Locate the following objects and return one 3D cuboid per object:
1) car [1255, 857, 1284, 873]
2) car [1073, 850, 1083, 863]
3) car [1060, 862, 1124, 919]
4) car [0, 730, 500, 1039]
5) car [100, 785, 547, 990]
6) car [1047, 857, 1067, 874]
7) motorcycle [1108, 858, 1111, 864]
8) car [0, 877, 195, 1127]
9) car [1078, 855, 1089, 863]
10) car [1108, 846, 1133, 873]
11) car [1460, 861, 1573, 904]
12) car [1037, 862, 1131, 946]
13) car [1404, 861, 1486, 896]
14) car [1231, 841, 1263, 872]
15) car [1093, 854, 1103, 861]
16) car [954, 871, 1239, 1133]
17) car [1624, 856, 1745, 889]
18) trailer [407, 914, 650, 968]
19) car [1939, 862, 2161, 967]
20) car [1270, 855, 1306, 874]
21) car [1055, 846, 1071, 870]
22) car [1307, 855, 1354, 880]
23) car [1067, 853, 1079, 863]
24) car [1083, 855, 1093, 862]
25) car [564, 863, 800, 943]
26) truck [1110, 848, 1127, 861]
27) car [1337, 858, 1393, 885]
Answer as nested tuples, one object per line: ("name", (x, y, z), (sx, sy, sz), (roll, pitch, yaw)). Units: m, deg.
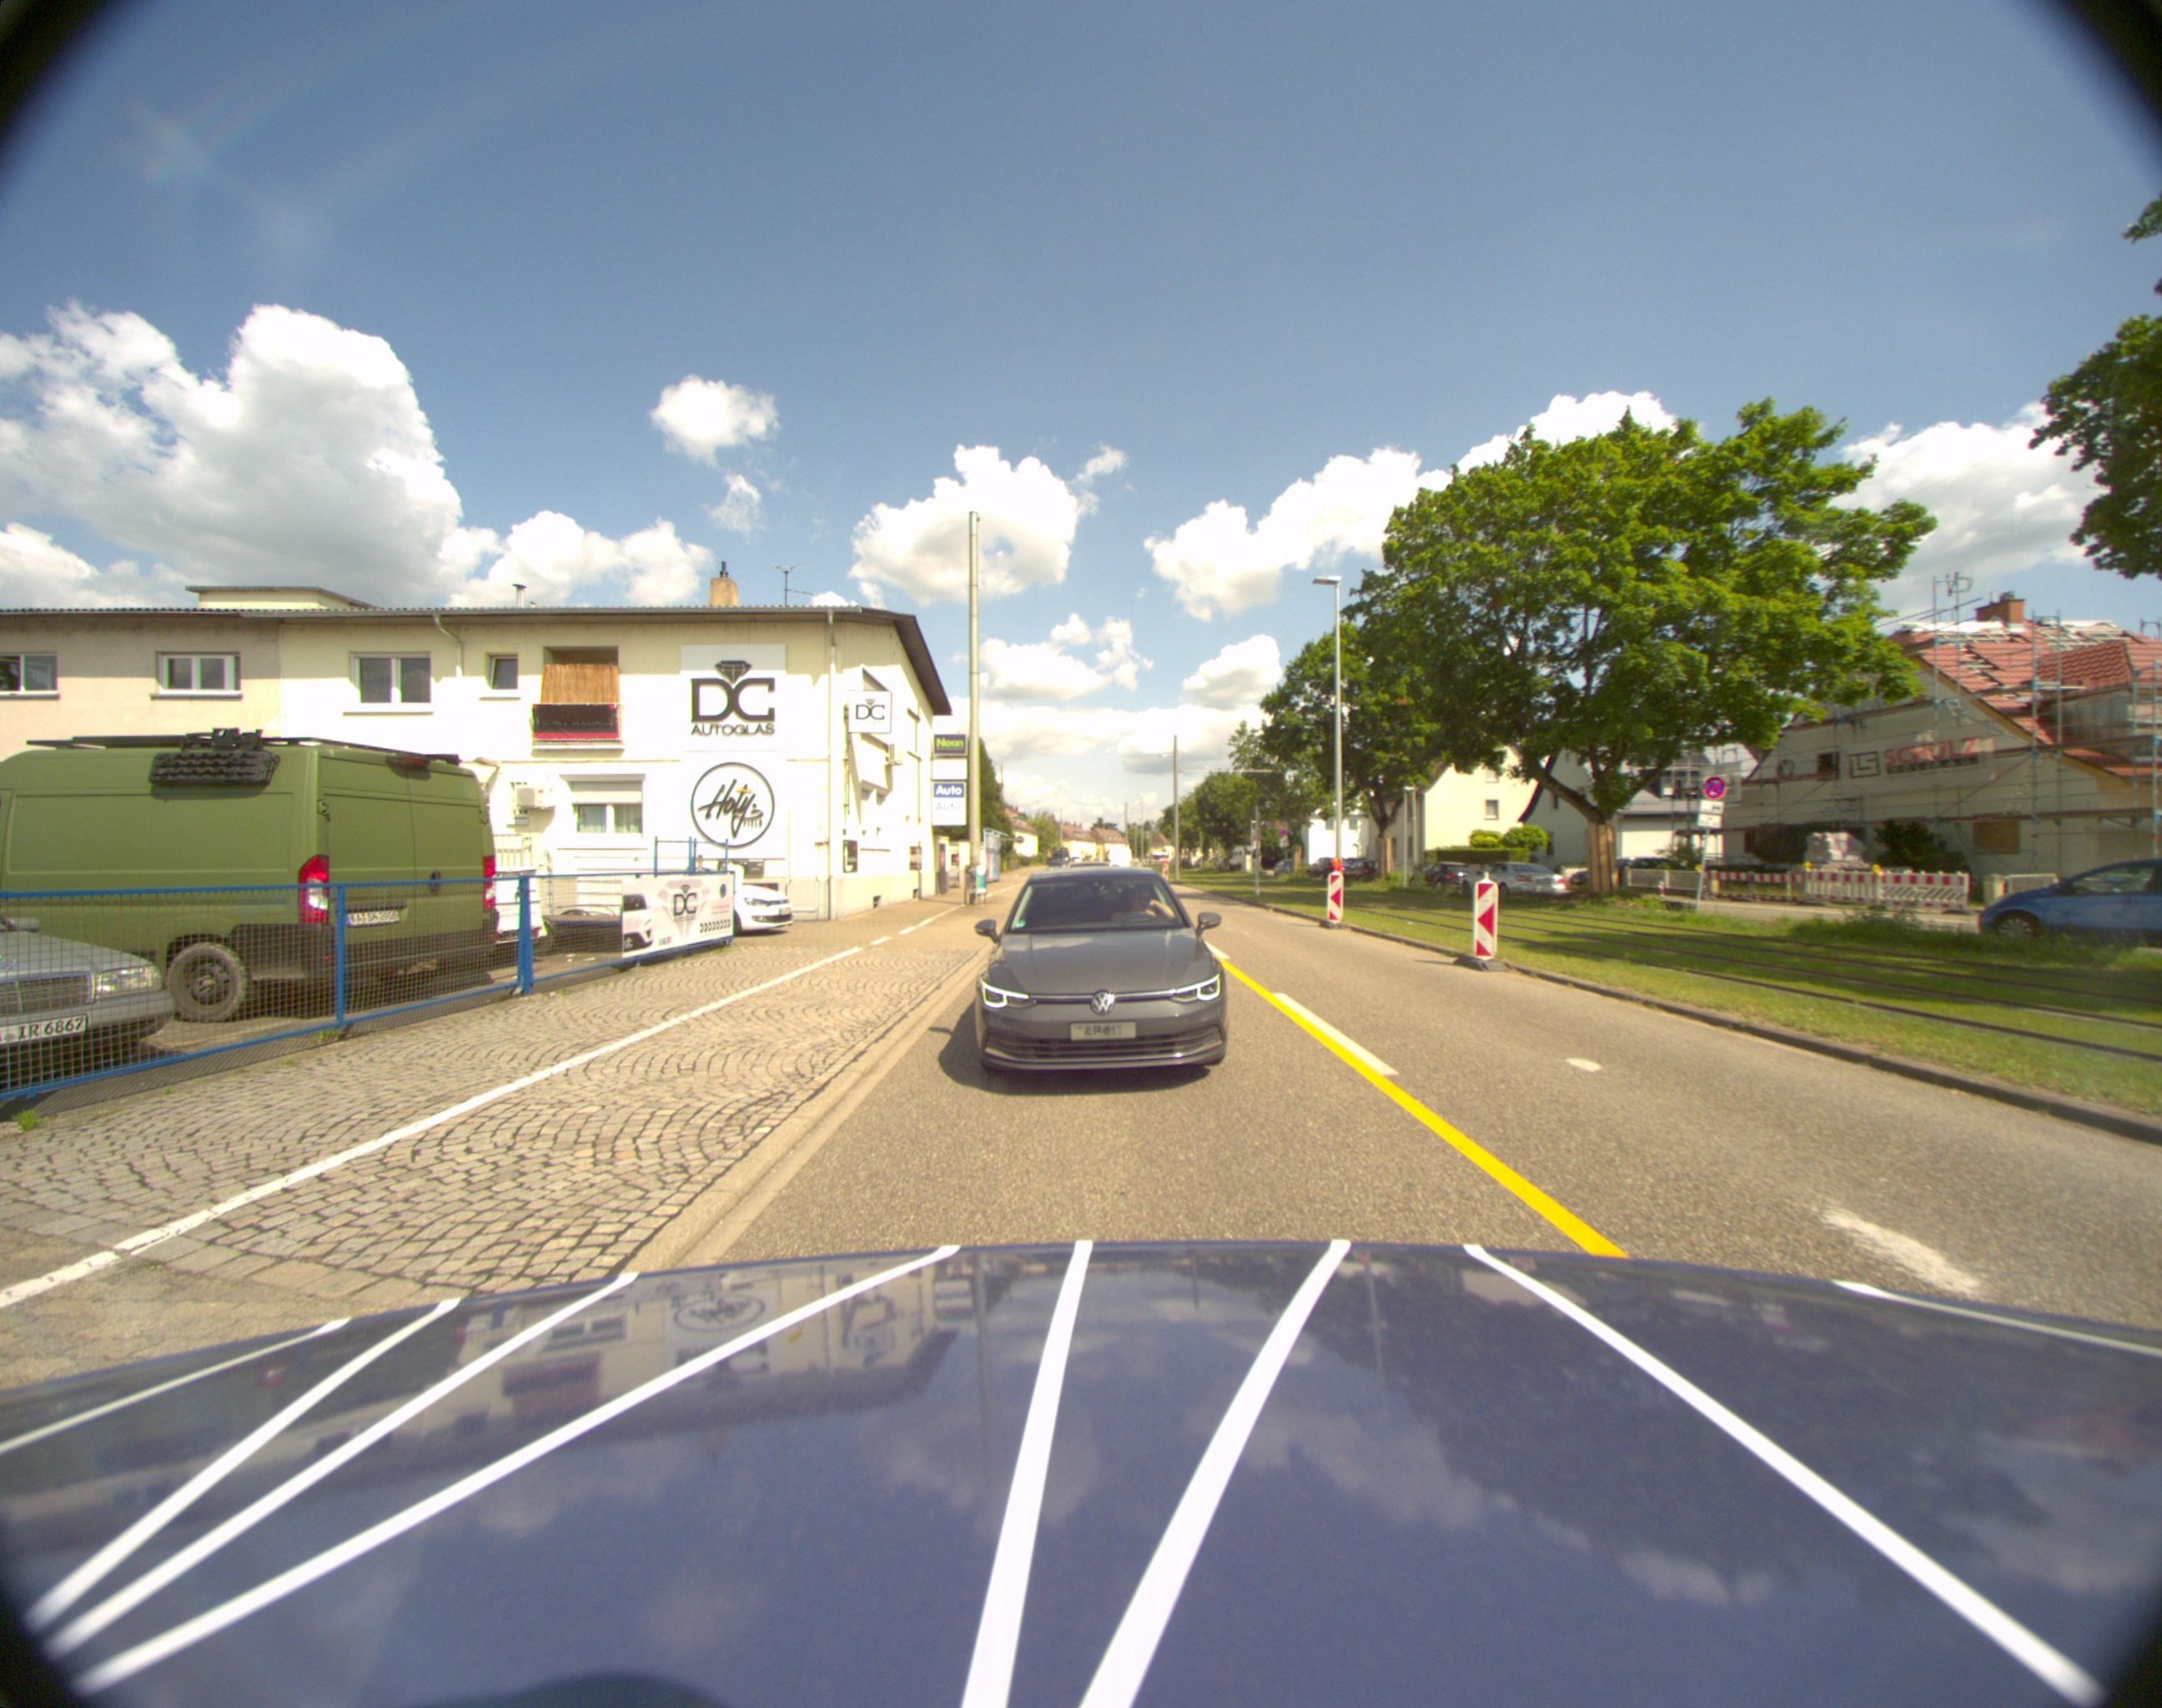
("car", (17.650, 1.071, 71.319), (1.702, 1.477, 4.407), (-1, -1, 1))
("car", (-0.480, 0.410, 136.396), (1.701, 2.233, 4.947), (0, 0, 2))
("car", (0.322, 0.983, 22.250), (1.702, 1.477, 4.000), (0, 0, 1))
("car", (-8.725, 0.270, 7.603), (4.207, 2.627, 2.113), (0, 0, 2))
("car", (-9.499, 0.401, 9.746), (4.207, 2.392, 1.586), (0, 0, 2))
("car", (-2.181, 1.041, 70.748), (1.702, 1.574, 4.000), (0, 0, 1))
("motorcycle", (5.187, 1.292, 138.376), (0.659, 1.040, 2.111), (0, 0, 1))
("car", (-8.458, 0.888, 4.768), (4.282, 1.444, 1.713), (0, 0, 8))
("car", (0.494, 0.891, 146.700), (1.701, 1.574, 4.002), (0, 0, 6))
("car", (3.713, 0.517, 72.302), (2.090, 2.449, 5.842), (2, 0, 2))
("car", (16.423, 1.063, 28.958), (1.788, 1.477, 4.523), (-1, -1, 2))
("car", (0.081, 0.939, 15.831), (1.702, 1.477, 4.000), (0, 0, 1))
("car", (16.628, 1.117, 34.930), (1.702, 1.477, 4.407), (-1, -1, 1))
("car", (16.822, 0.267, 77.264), (2.136, 3.019, 5.084), (-1, -1, 1))
("car", (3.857, 0.899, 173.590), (1.700, 1.574, 4.004), (0, 0, 12))
("car", (0.119, 0.935, 6.542), (1.702, 1.477, 4.000), (0, 0, 1))
("car", (28.908, 0.886, 36.503), (4.402, 1.477, 1.704), (-1, -1, 1))
("trailer", (-8.366, 1.305, 11.654), (2.733, 0.662, 1.329), (0, 0, -1))
("car", (16.194, 0.865, 11.392), (1.702, 1.477, 4.407), (-1, -1, 1))
("car", (16.648, 0.870, 61.274), (1.702, 1.477, 4.407), (-1, -1, 1))
("car", (-1.908, 0.443, 82.433), (1.702, 2.510, 5.144), (0, 0, 0))
("car", (16.556, 0.892, 50.582), (1.702, 1.562, 4.407), (-1, -1, 1))
("car", (-1.307, 0.663, 123.033), (1.701, 1.574, 4.001), (0, 0, 3))
("car", (1.452, 0.894, 155.831), (1.701, 1.574, 4.002), (0, 0, 7))
("car", (-7.660, 0.914, 14.811), (3.775, 1.454, 1.555), (0, 0, 2))
("truck", (9.924, 0.127, 201.044), (2.710, 3.119, 8.124), (0, 0, 15))
("car", (16.773, 1.031, 45.148), (1.702, 1.477, 4.407), (-1, -1, 1))
